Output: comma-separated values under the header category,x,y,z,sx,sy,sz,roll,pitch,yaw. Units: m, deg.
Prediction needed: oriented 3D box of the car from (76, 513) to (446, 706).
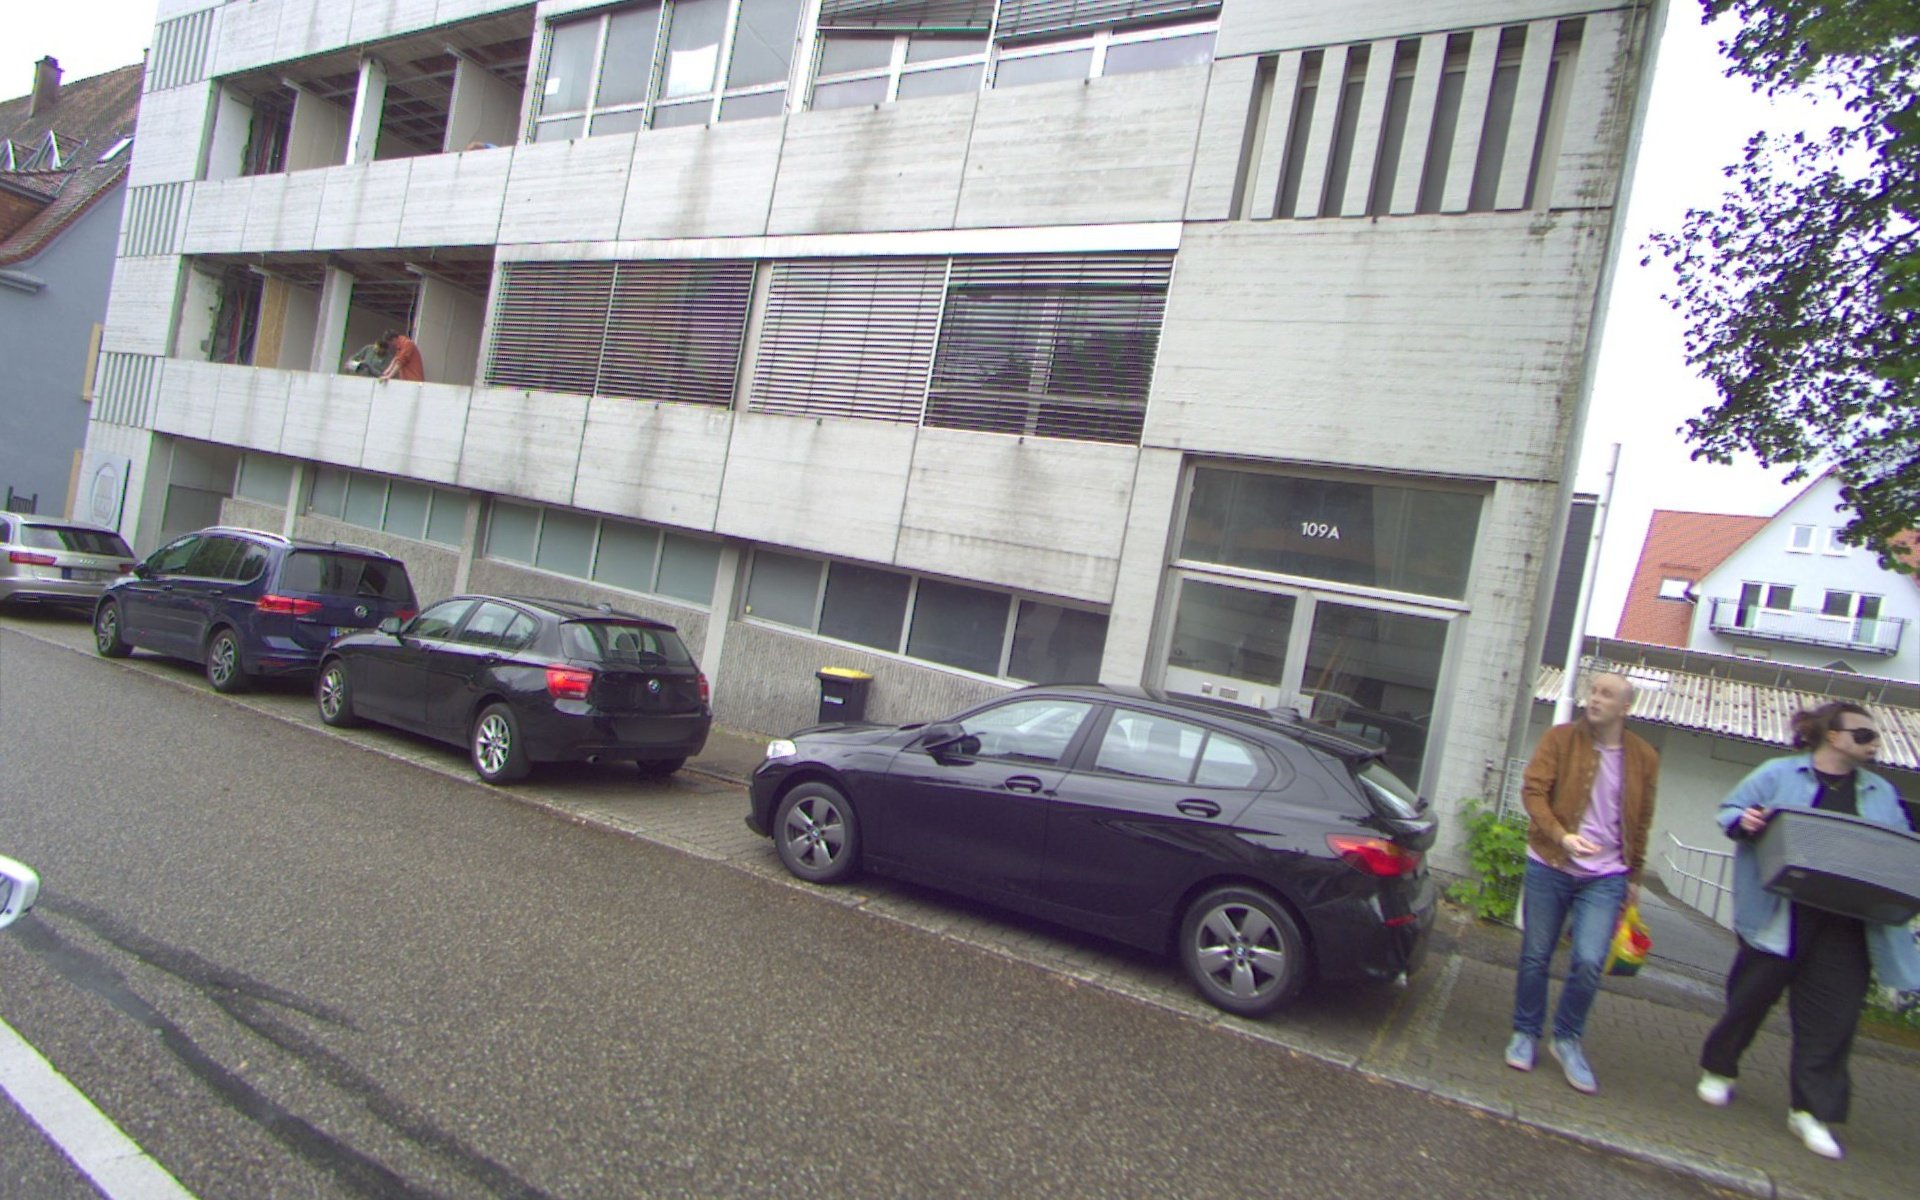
category,x,y,z,sx,sy,sz,roll,pitch,yaw
car,-7.931,0.074,11.345,4.090,1.618,1.731,7,-1,30

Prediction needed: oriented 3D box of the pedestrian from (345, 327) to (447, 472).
category,x,y,z,sx,sy,sz,roll,pitch,yaw
pedestrian,-8.927,-3.138,15.933,0.847,2.037,0.909,6,-1,31

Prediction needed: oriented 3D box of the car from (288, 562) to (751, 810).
category,x,y,z,sx,sy,sz,roll,pitch,yaw
car,-4.053,0.634,9.016,4.183,1.466,1.750,6,-1,34

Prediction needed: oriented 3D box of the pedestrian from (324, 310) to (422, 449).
category,x,y,z,sx,sy,sz,roll,pitch,yaw
pedestrian,-9.695,-3.603,16.621,0.847,2.037,0.909,6,-1,31

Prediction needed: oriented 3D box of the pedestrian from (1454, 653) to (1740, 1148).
category,x,y,z,sx,sy,sz,roll,pitch,yaw
pedestrian,2.827,1.219,4.526,0.811,1.802,1.072,6,-2,32

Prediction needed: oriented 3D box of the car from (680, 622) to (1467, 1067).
category,x,y,z,sx,sy,sz,roll,pitch,yaw
car,0.634,1.180,6.322,4.367,1.452,1.998,7,-2,30

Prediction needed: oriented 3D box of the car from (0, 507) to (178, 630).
category,x,y,z,sx,sy,sz,roll,pitch,yaw
car,-14.217,-0.598,15.353,4.449,1.465,1.966,7,-1,30

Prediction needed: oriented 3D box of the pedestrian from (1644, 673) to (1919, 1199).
category,x,y,z,sx,sy,sz,roll,pitch,yaw
pedestrian,3.535,1.280,4.207,0.810,1.802,1.073,7,-3,27
